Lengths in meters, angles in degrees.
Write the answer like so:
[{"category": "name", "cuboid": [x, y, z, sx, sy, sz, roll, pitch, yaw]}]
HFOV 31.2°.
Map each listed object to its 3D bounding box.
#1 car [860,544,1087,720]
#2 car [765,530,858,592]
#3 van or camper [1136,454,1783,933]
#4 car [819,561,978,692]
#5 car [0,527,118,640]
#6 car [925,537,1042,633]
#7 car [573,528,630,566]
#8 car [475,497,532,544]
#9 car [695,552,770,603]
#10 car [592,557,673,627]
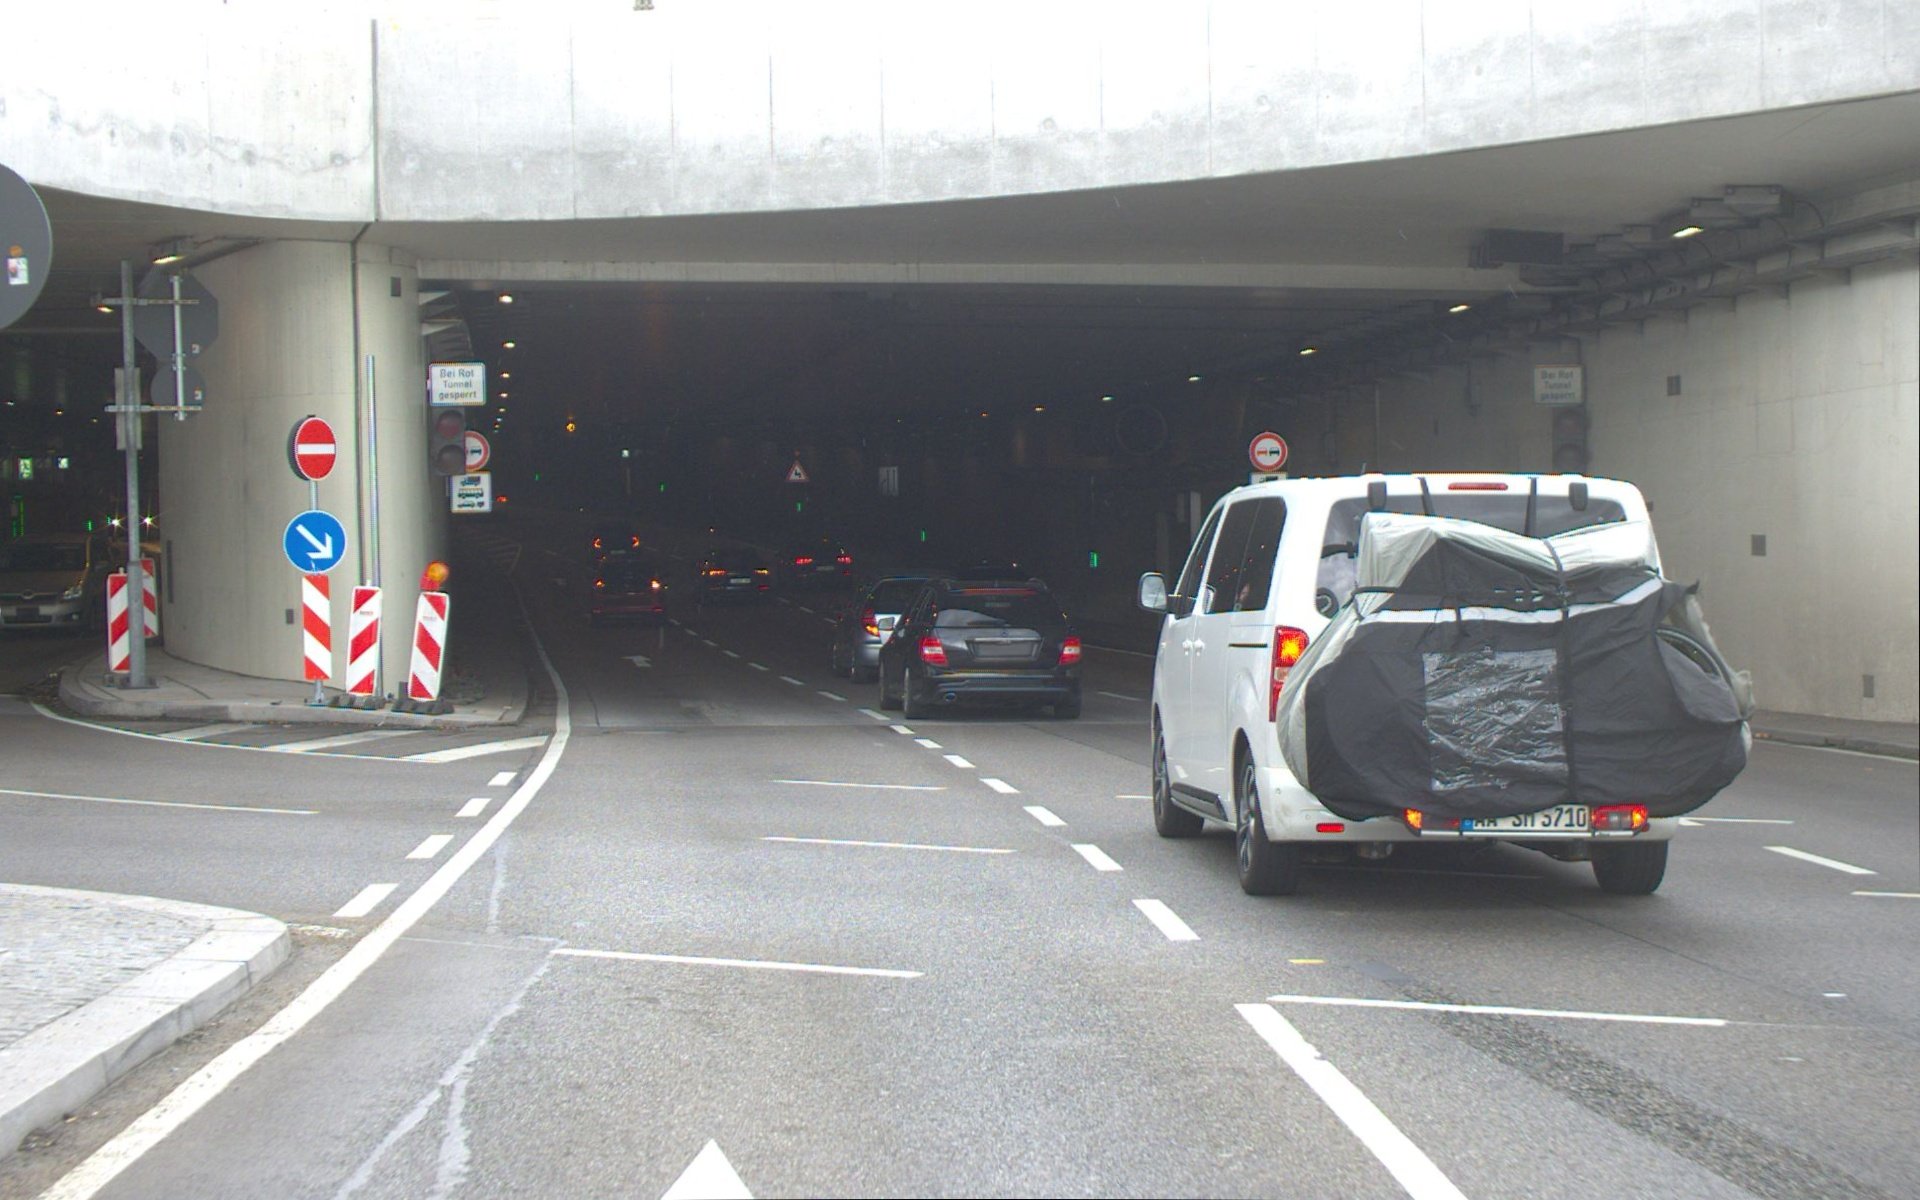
[{"category": "car", "cuboid": [0.075, 0.333, 35.203, 1.818, 1.678, 4.001, 1, -1, -7]}, {"category": "car", "cuboid": [-4.167, -1.082, 95.737, 1.989, 1.670, 4.509, -1, 0, -10]}, {"category": "van or camper", "cuboid": [2.087, 0.360, 16.131, 1.993, 1.839, 5.508, 1, 0, -2]}, {"category": "car", "cuboid": [-0.894, 0.334, 47.804, 1.818, 1.575, 4.001, 3, 1, -6]}, {"category": "car", "cuboid": [-14.515, -0.297, 54.398, 1.807, 1.599, 4.789, -1, 2, -8]}, {"category": "car", "cuboid": [0.412, -0.307, 64.684, 1.659, 1.628, 3.568, 3, 1, -7]}, {"category": "car", "cuboid": [-11.870, -1.744, 113.761, 1.508, 1.242, 3.568, -1, 1, -12]}, {"category": "car", "cuboid": [-20.024, -3.471, 150.692, 1.993, 2.007, 4.001, -1, 1, -14]}, {"category": "car", "cuboid": [-5.764, -0.572, 86.877, 1.663, 1.243, 3.568, -1, 0, -7]}, {"category": "car", "cuboid": [-7.204, -0.189, 75.469, 1.660, 1.483, 3.568, -1, 0, -7]}]
